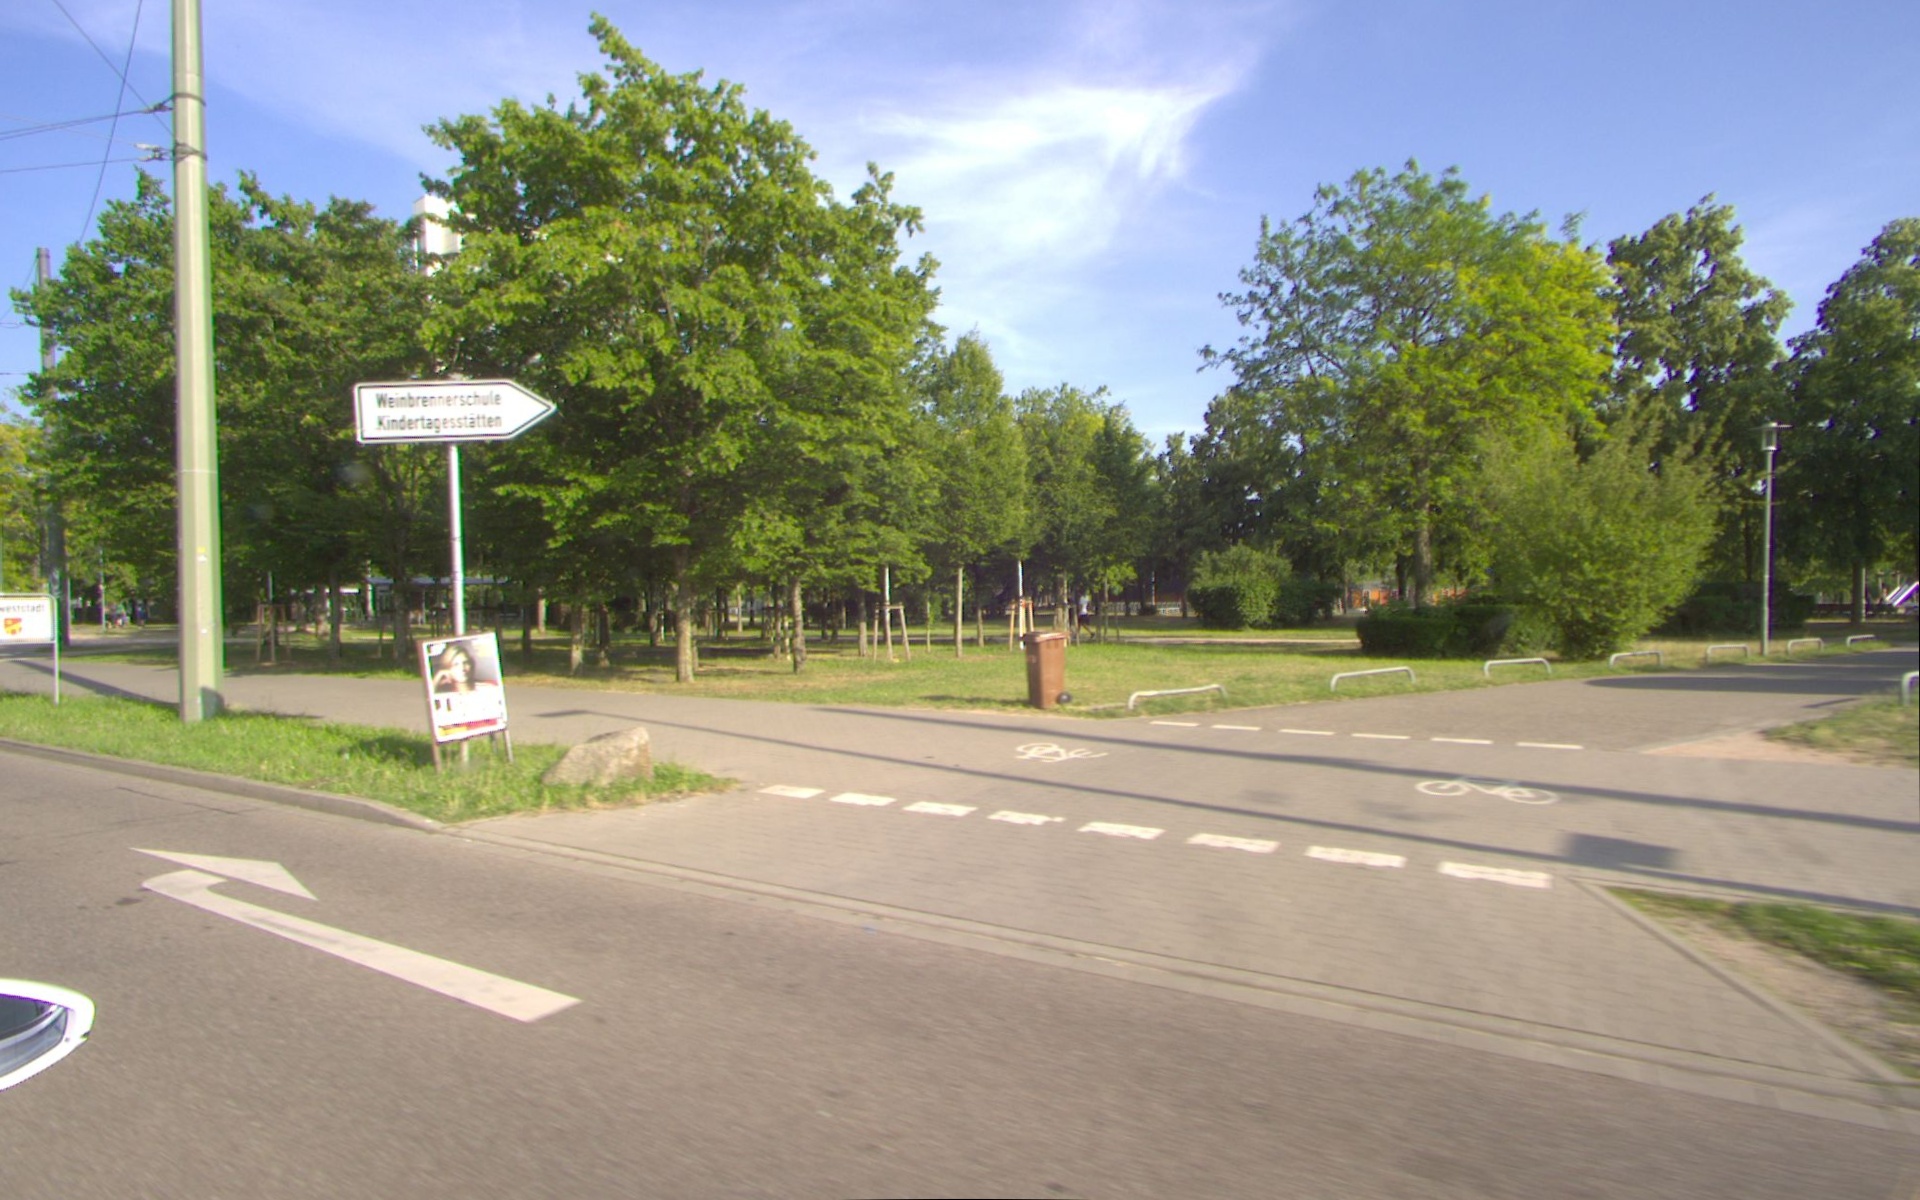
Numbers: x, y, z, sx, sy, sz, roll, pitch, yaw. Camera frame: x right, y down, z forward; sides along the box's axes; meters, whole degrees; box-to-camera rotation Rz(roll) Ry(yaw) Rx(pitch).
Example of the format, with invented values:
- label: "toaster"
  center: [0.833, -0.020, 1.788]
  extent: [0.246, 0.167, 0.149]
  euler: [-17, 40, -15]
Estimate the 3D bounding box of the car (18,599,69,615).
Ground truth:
- label: "car"
  center: [-97.741, 0.730, 106.804]
  extent: [3.960, 1.673, 1.980]
  euler: [-1, 1, -44]
